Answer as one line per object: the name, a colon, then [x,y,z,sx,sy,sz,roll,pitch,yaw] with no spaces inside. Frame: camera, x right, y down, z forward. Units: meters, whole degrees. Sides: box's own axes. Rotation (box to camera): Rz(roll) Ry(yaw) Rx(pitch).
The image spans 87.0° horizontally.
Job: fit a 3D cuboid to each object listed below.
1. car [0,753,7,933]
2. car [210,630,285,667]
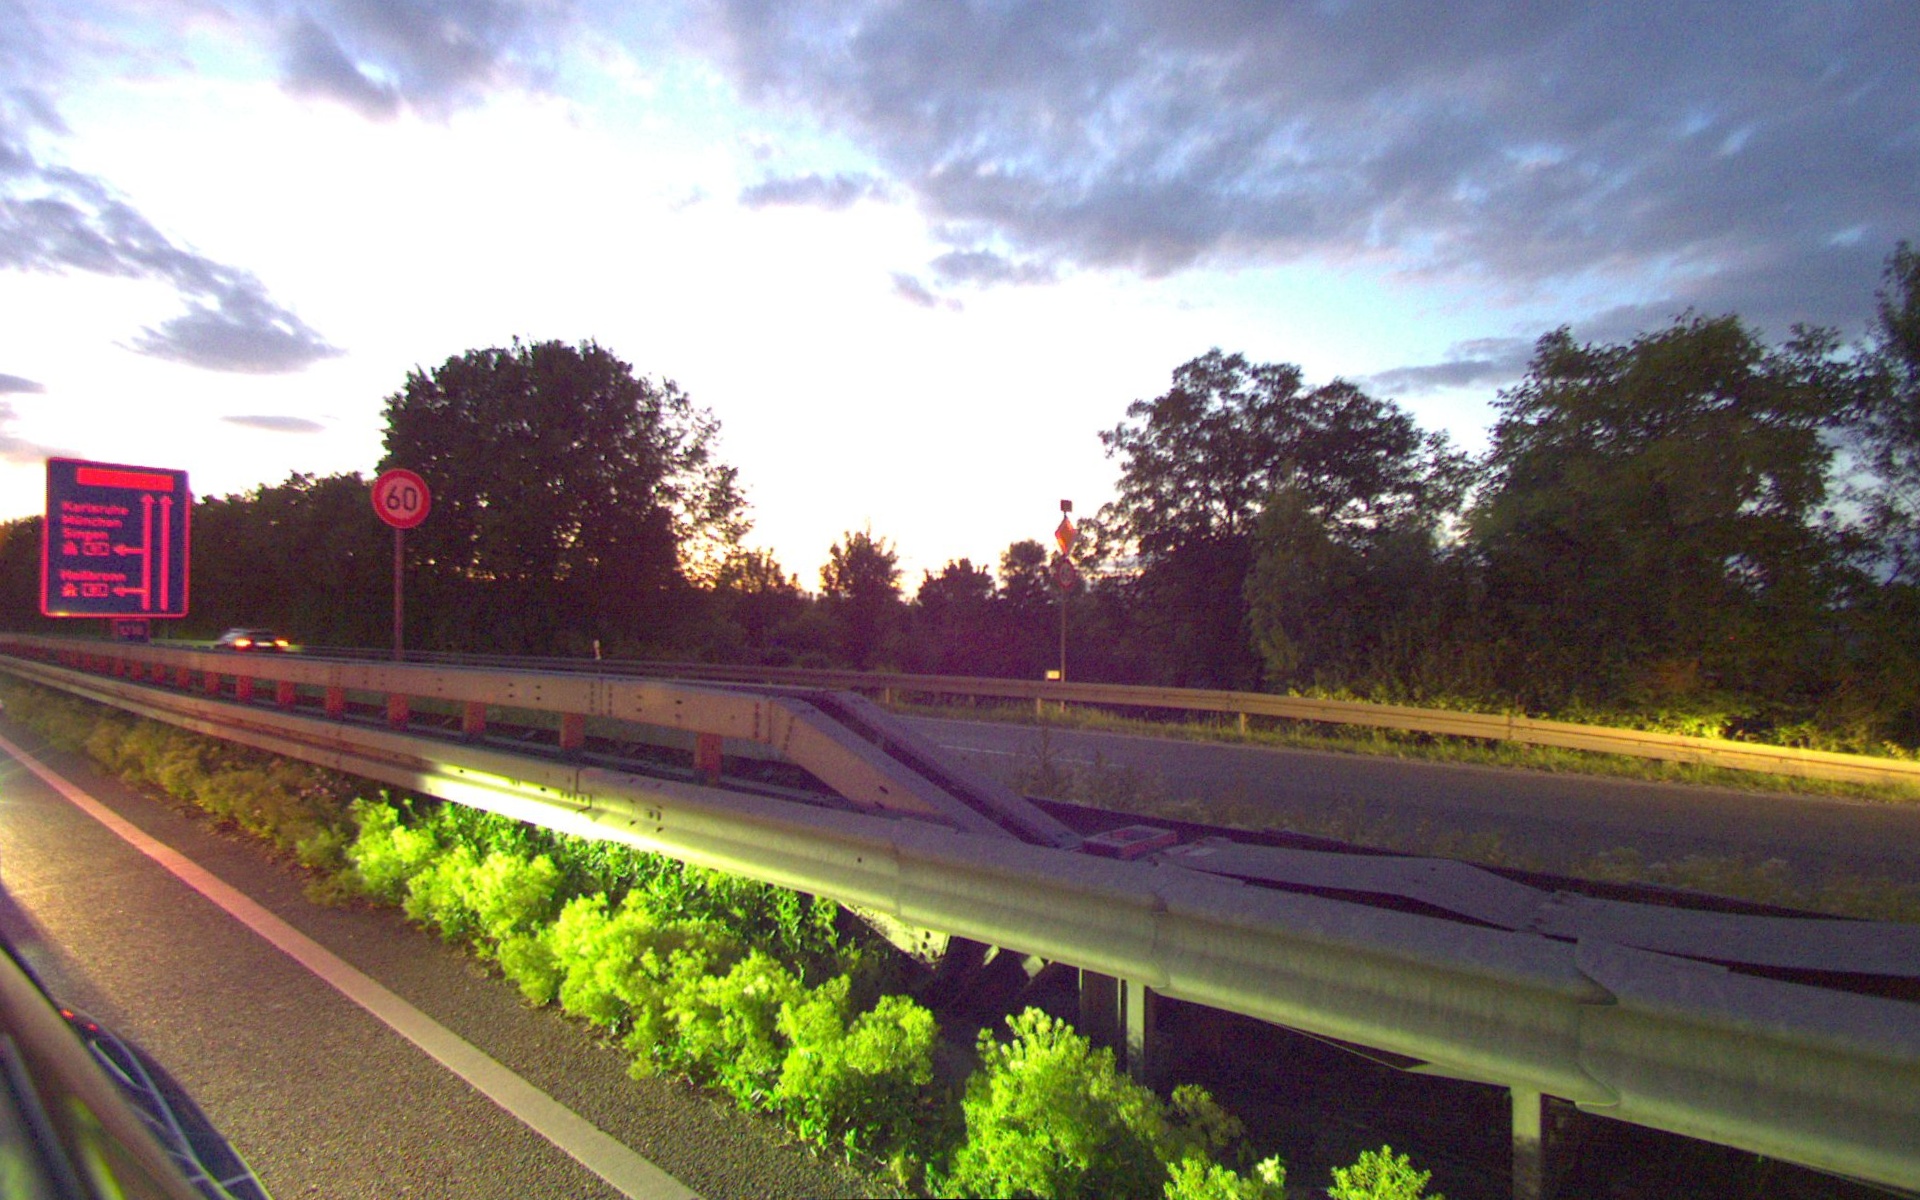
car: [-6.748,0.906,5.575,4.645,1.447,1.795,-2,0,42]
car: [-30.473,2.038,43.226,4.590,1.516,1.611,-2,-3,42]
